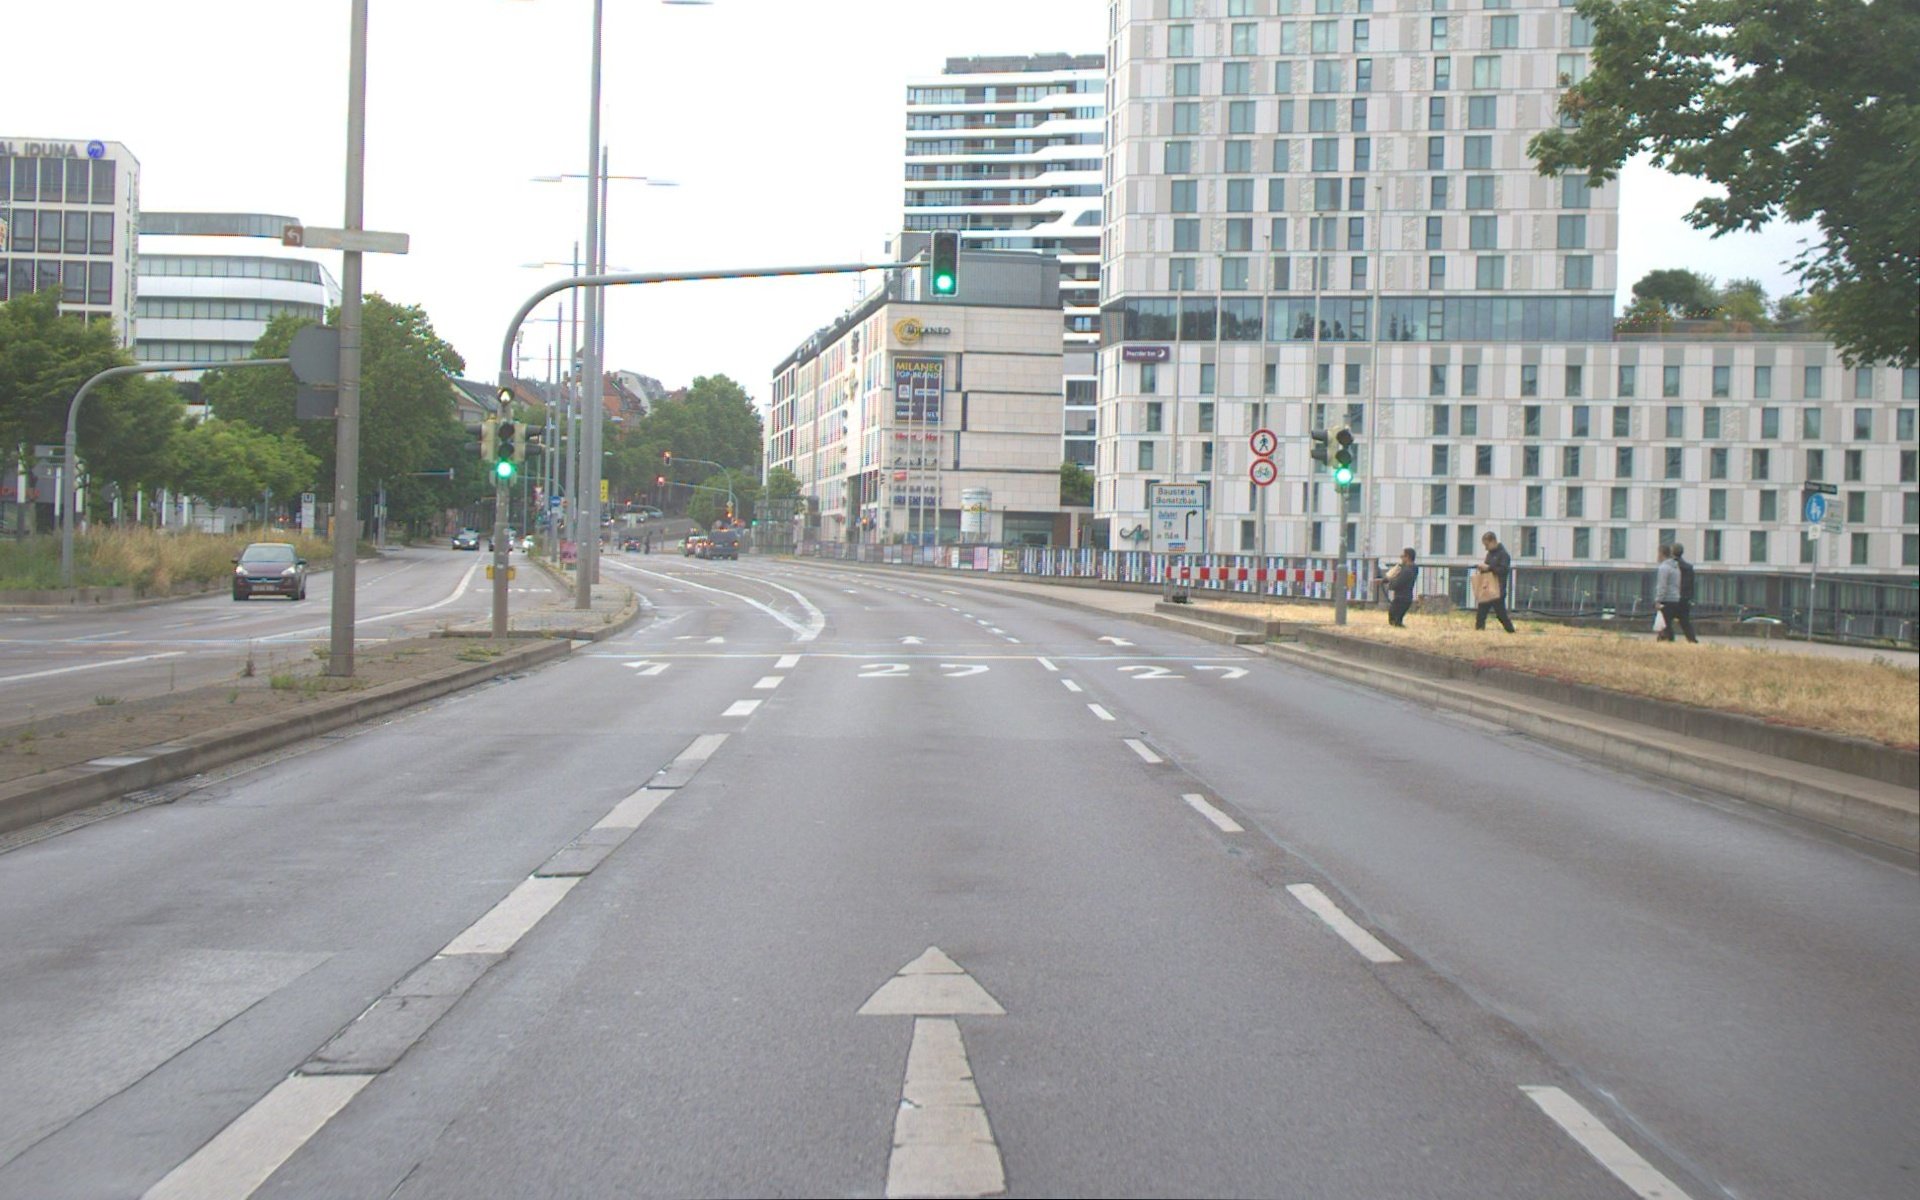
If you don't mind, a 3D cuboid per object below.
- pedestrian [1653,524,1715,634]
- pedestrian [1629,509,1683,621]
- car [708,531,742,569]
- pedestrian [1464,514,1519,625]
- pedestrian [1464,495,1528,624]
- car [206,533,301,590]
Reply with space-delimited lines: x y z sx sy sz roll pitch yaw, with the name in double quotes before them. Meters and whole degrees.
"pedestrian" 10.634 -0.318 50.468 0.670 1.572 0.667 2 3 37
"pedestrian" 10.002 -0.505 49.398 0.550 1.572 0.669 1 3 34
"car" -15.405 -3.284 225.749 1.993 2.335 4.001 -2 1 -2
"pedestrian" 7.704 -0.447 49.802 0.550 1.572 0.669 1 3 34
"pedestrian" 7.743 -0.596 49.684 0.781 1.835 0.551 -3 4 -44
"car" -17.937 -0.992 87.464 1.748 1.403 3.725 0 1 -2
